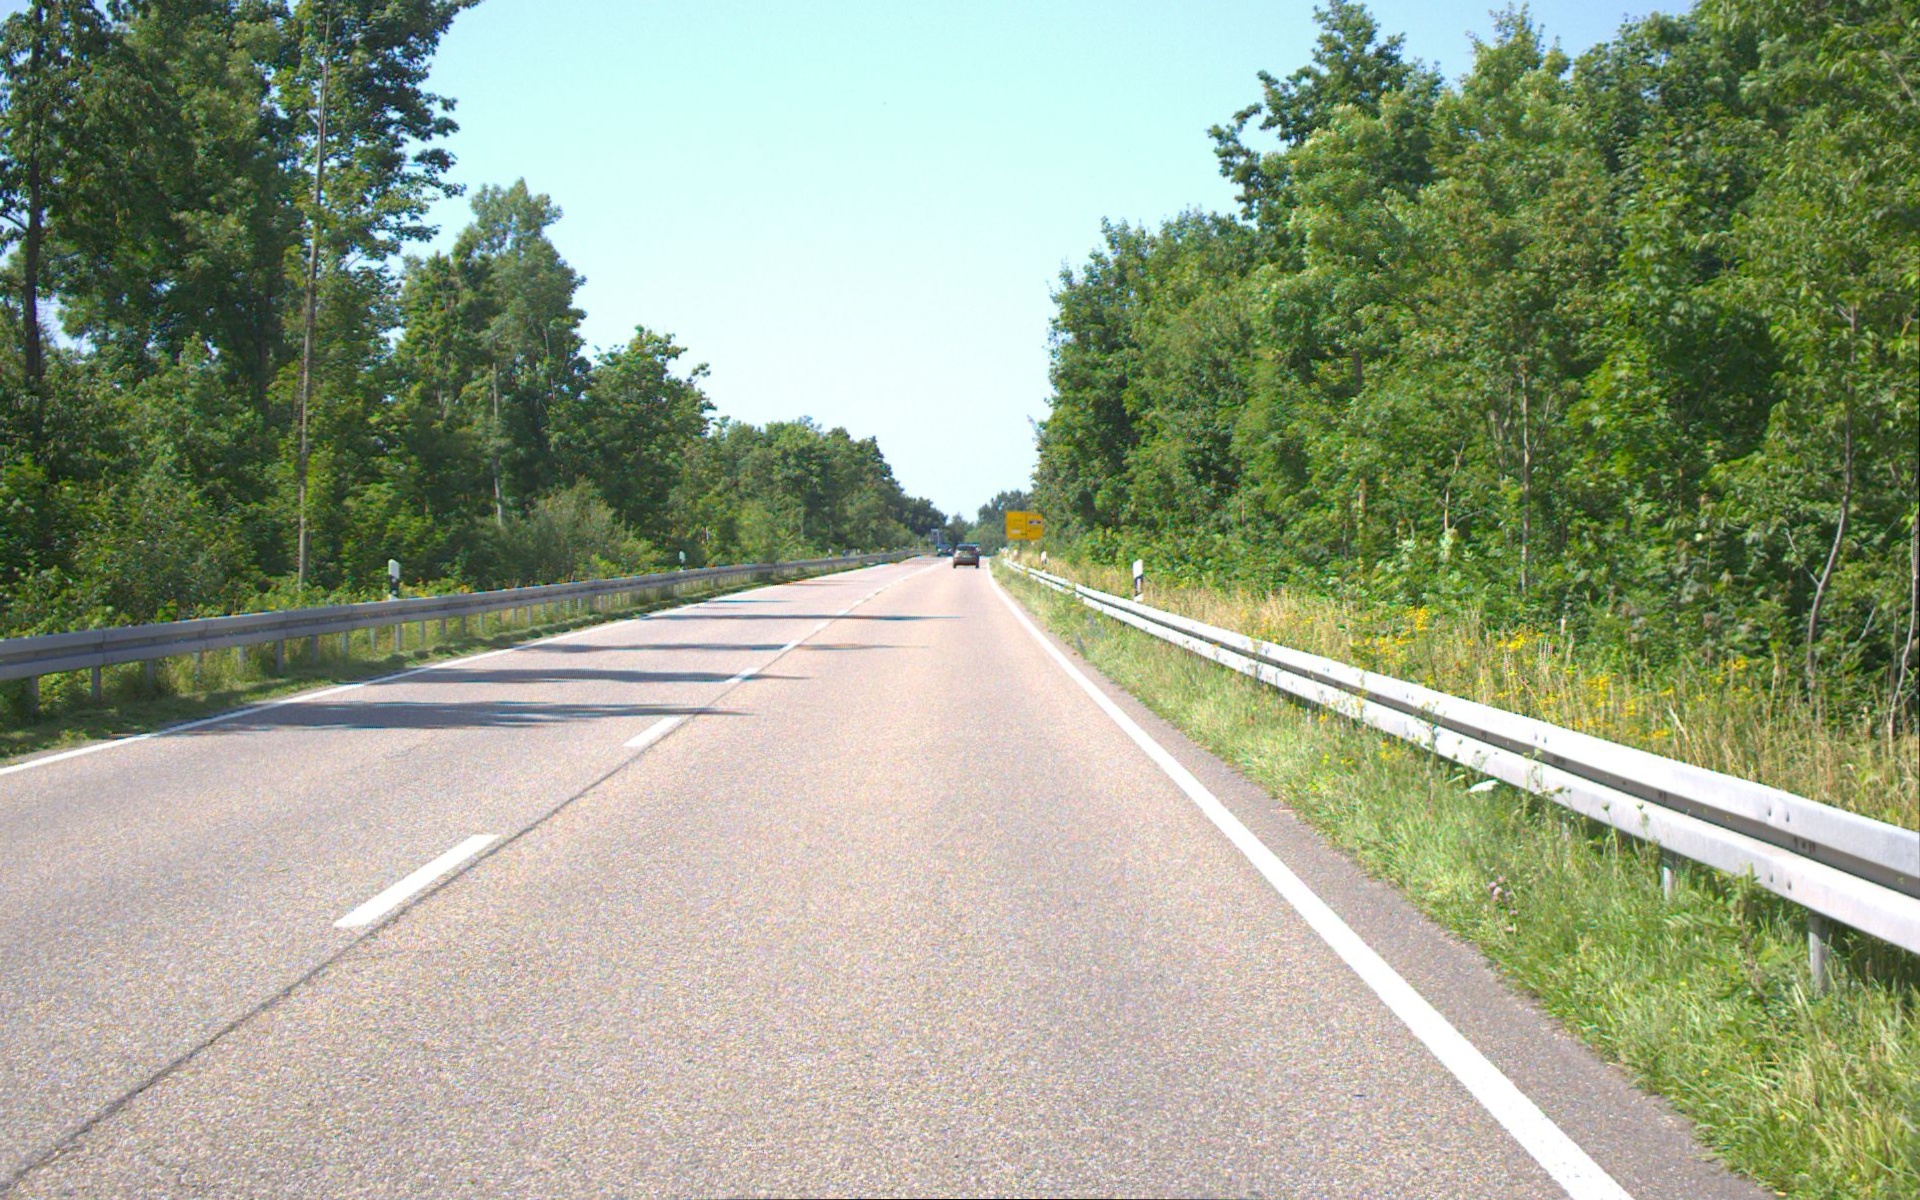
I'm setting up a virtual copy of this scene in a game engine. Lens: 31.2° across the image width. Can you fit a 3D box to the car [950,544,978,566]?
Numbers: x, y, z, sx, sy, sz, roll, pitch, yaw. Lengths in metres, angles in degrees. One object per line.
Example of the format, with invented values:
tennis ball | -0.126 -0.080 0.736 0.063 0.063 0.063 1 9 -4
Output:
car | 0.261 -3.022 230.518 1.741 1.465 3.692 0 1 2
